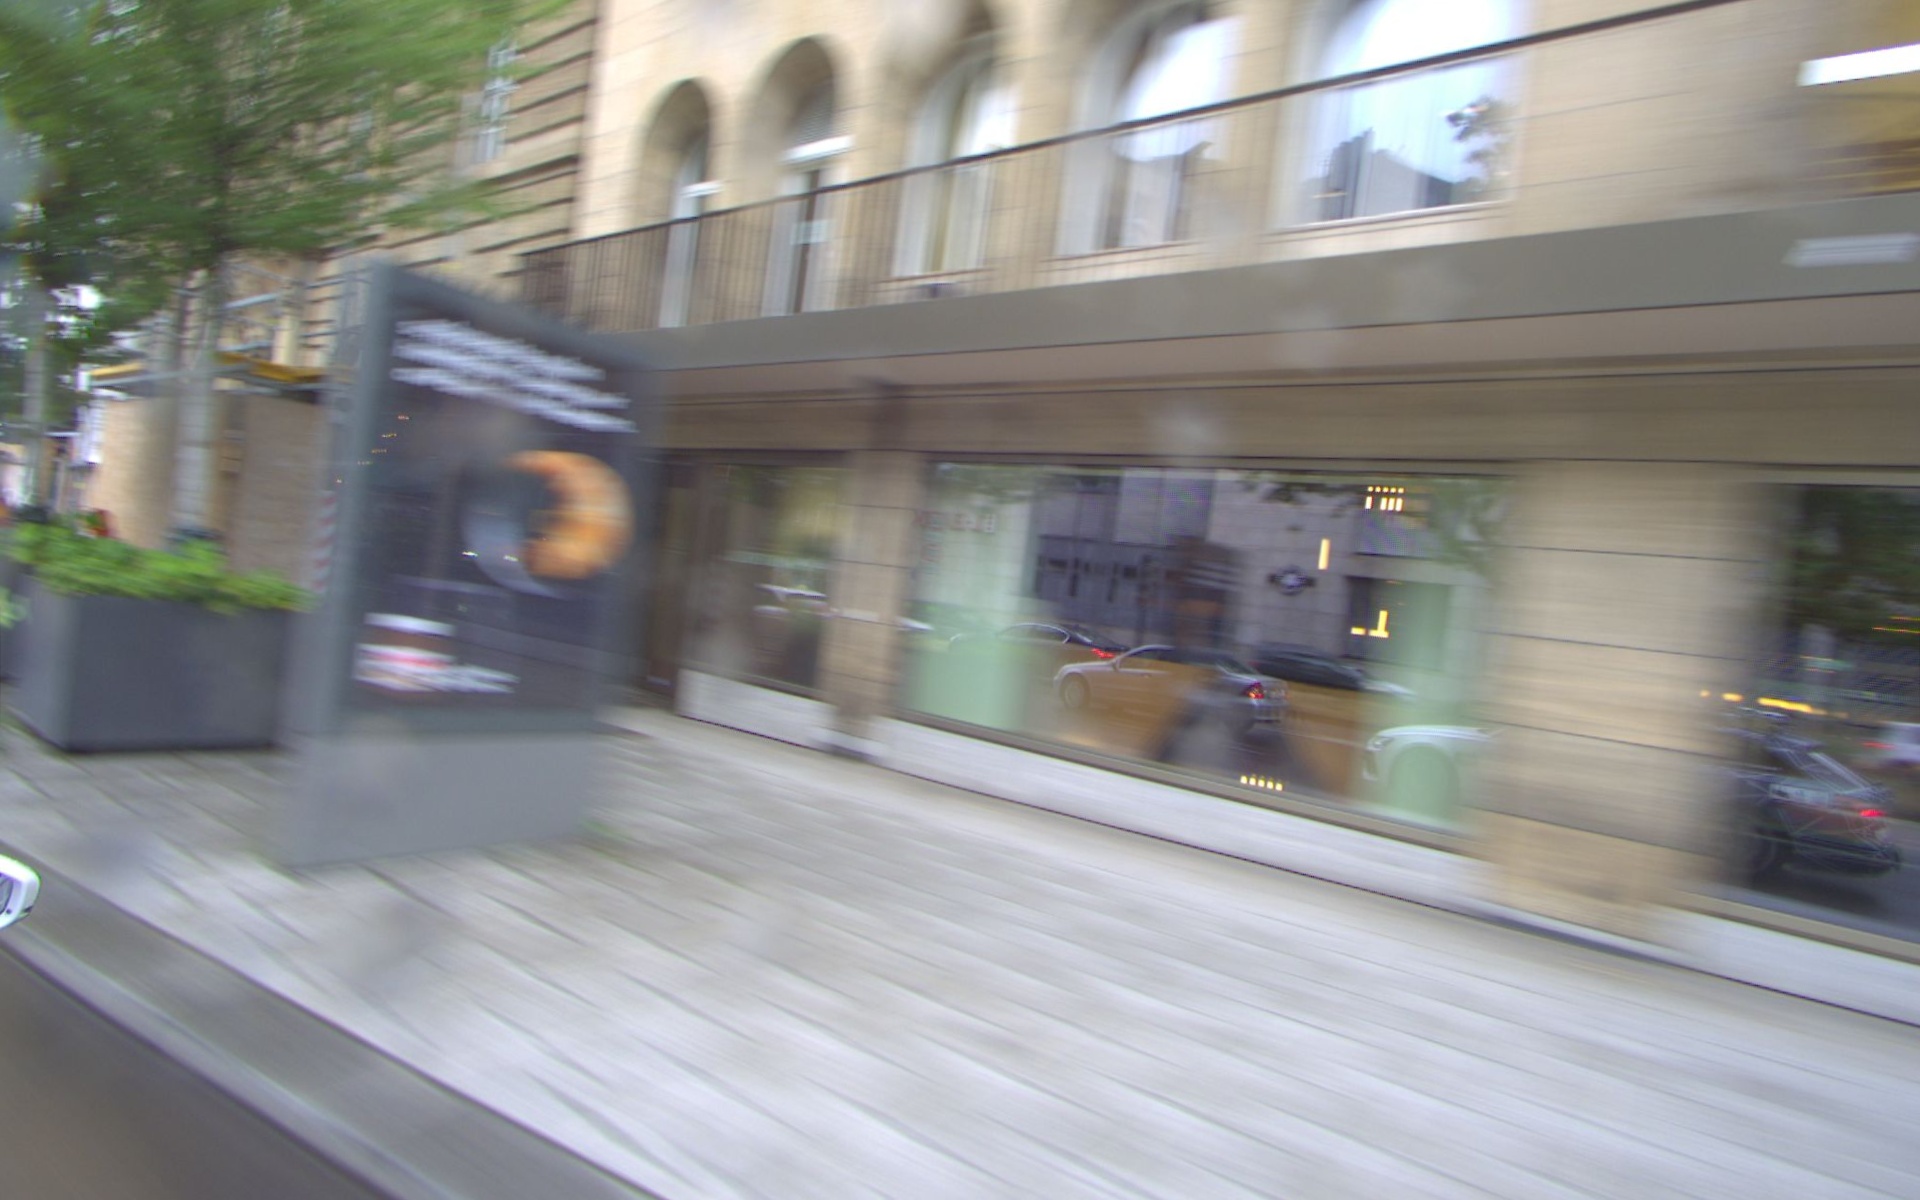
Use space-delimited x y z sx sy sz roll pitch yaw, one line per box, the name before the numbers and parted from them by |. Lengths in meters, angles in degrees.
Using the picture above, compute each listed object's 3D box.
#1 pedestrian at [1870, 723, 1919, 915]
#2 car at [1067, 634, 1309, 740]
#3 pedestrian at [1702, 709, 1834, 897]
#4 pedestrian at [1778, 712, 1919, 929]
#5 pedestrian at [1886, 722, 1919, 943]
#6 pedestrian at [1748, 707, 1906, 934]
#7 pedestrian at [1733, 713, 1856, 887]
pedestrian | 5.779 1.306 5.903 0.471 1.086 0.329 8 0 25
car | 4.120 1.572 18.563 3.945 1.350 1.664 6 -2 42
pedestrian | 5.207 1.283 6.493 0.537 1.068 0.554 7 -1 40
pedestrian | 5.109 1.218 5.699 0.530 1.086 0.433 8 -1 25
pedestrian | 5.035 1.186 4.993 0.472 1.086 0.329 8 0 29
pedestrian | 4.614 1.148 5.376 0.472 1.086 0.329 8 0 29
pedestrian | 5.822 1.373 7.032 0.537 1.068 0.554 7 -1 40
